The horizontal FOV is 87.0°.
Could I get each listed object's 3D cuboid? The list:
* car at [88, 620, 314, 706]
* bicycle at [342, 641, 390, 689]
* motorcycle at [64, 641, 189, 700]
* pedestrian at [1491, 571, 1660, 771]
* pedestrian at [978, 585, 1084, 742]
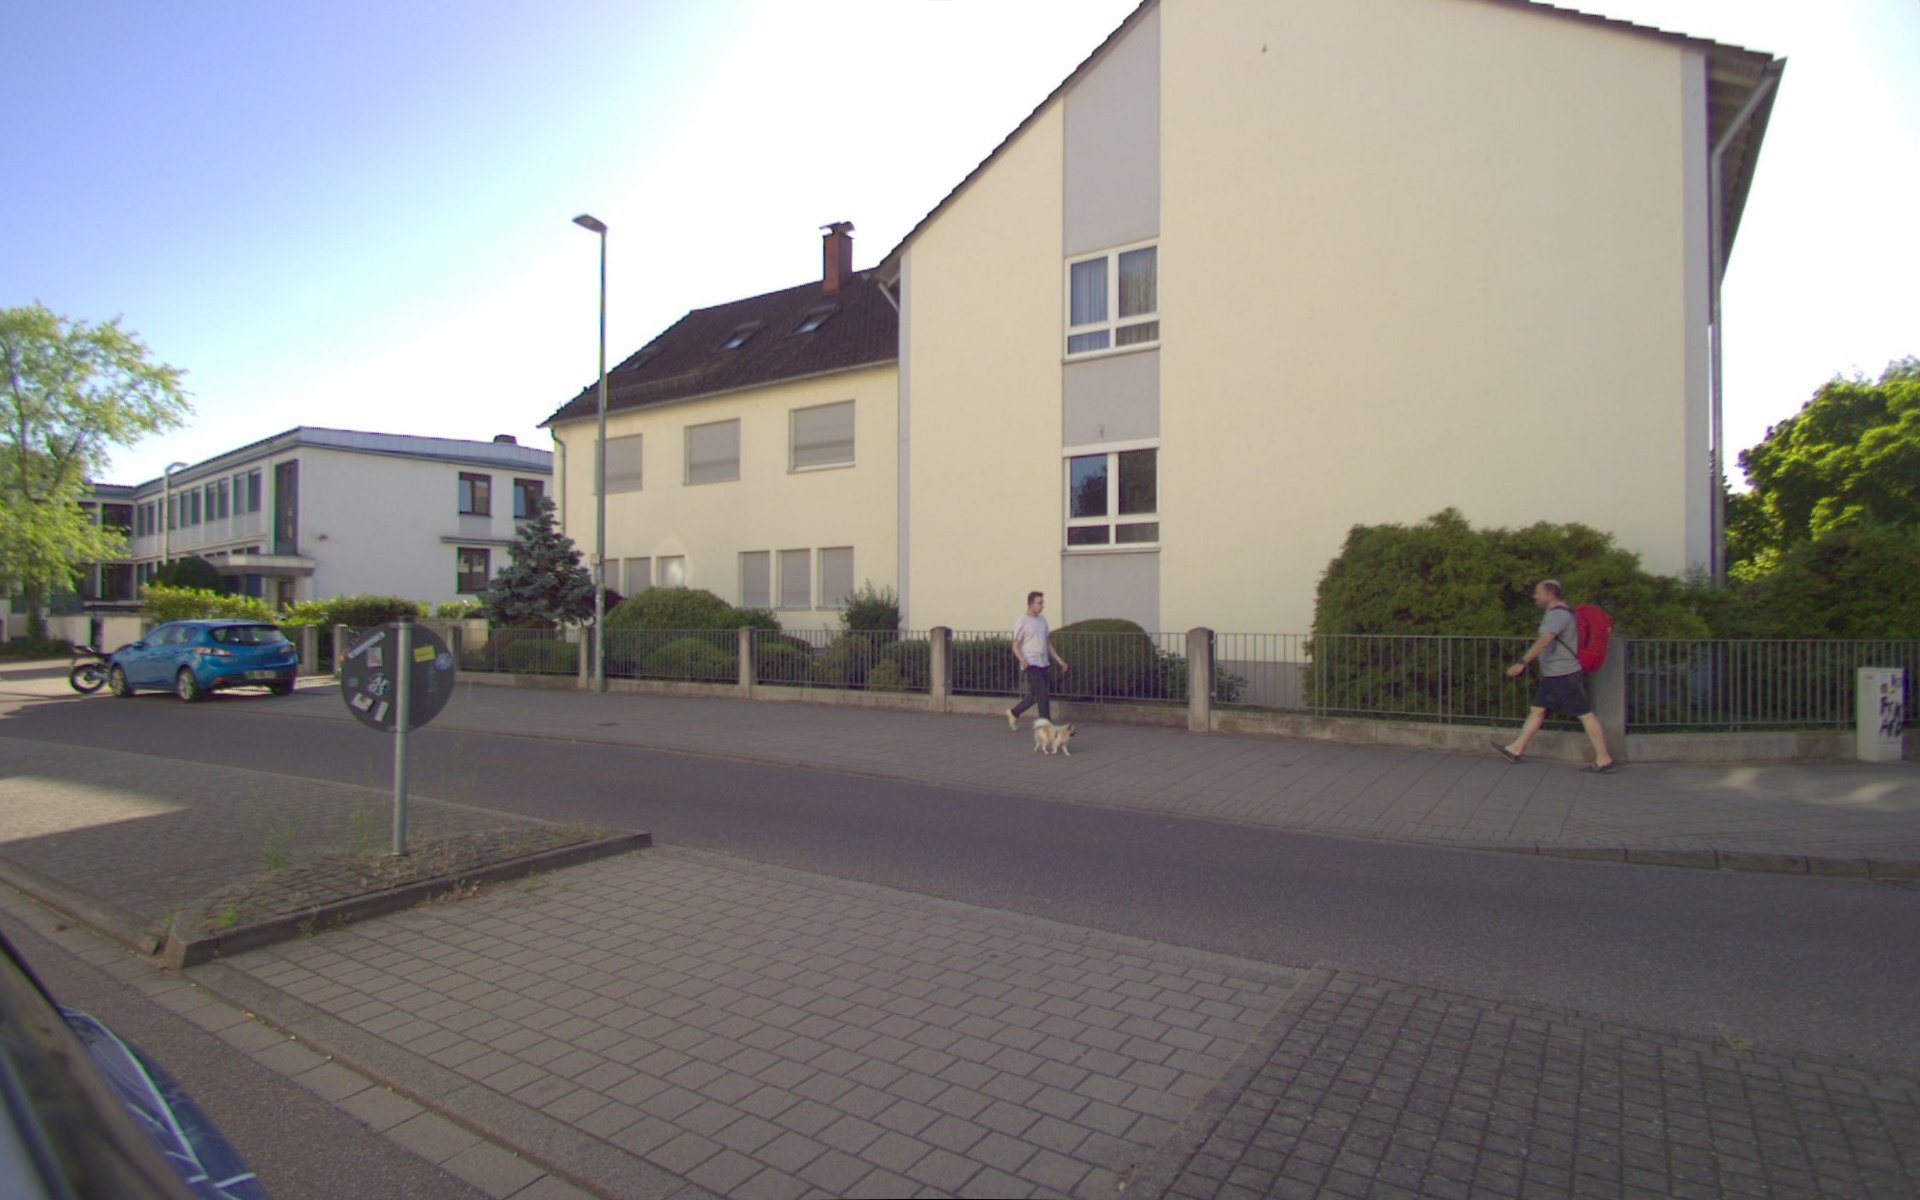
[{"bbox_3d":[-14.595,1.158,19.421,4.396,1.445,1.867,-1,-1,29],"label":"car"},{"bbox_3d":[-13.289,1.440,22.616,1.258,1.023,0.342,-1,-2,30],"label":"bicycle"},{"bbox_3d":[-17.185,1.438,20.924,1.931,1.103,0.592,-1,-1,-32],"label":"motorcycle"},{"bbox_3d":[5.527,0.619,9.148,0.983,1.718,0.819,-1,-1,1],"label":"pedestrian"},{"bbox_3d":[0.822,0.700,11.683,0.995,1.718,0.683,-1,-1,37],"label":"pedestrian"}]
